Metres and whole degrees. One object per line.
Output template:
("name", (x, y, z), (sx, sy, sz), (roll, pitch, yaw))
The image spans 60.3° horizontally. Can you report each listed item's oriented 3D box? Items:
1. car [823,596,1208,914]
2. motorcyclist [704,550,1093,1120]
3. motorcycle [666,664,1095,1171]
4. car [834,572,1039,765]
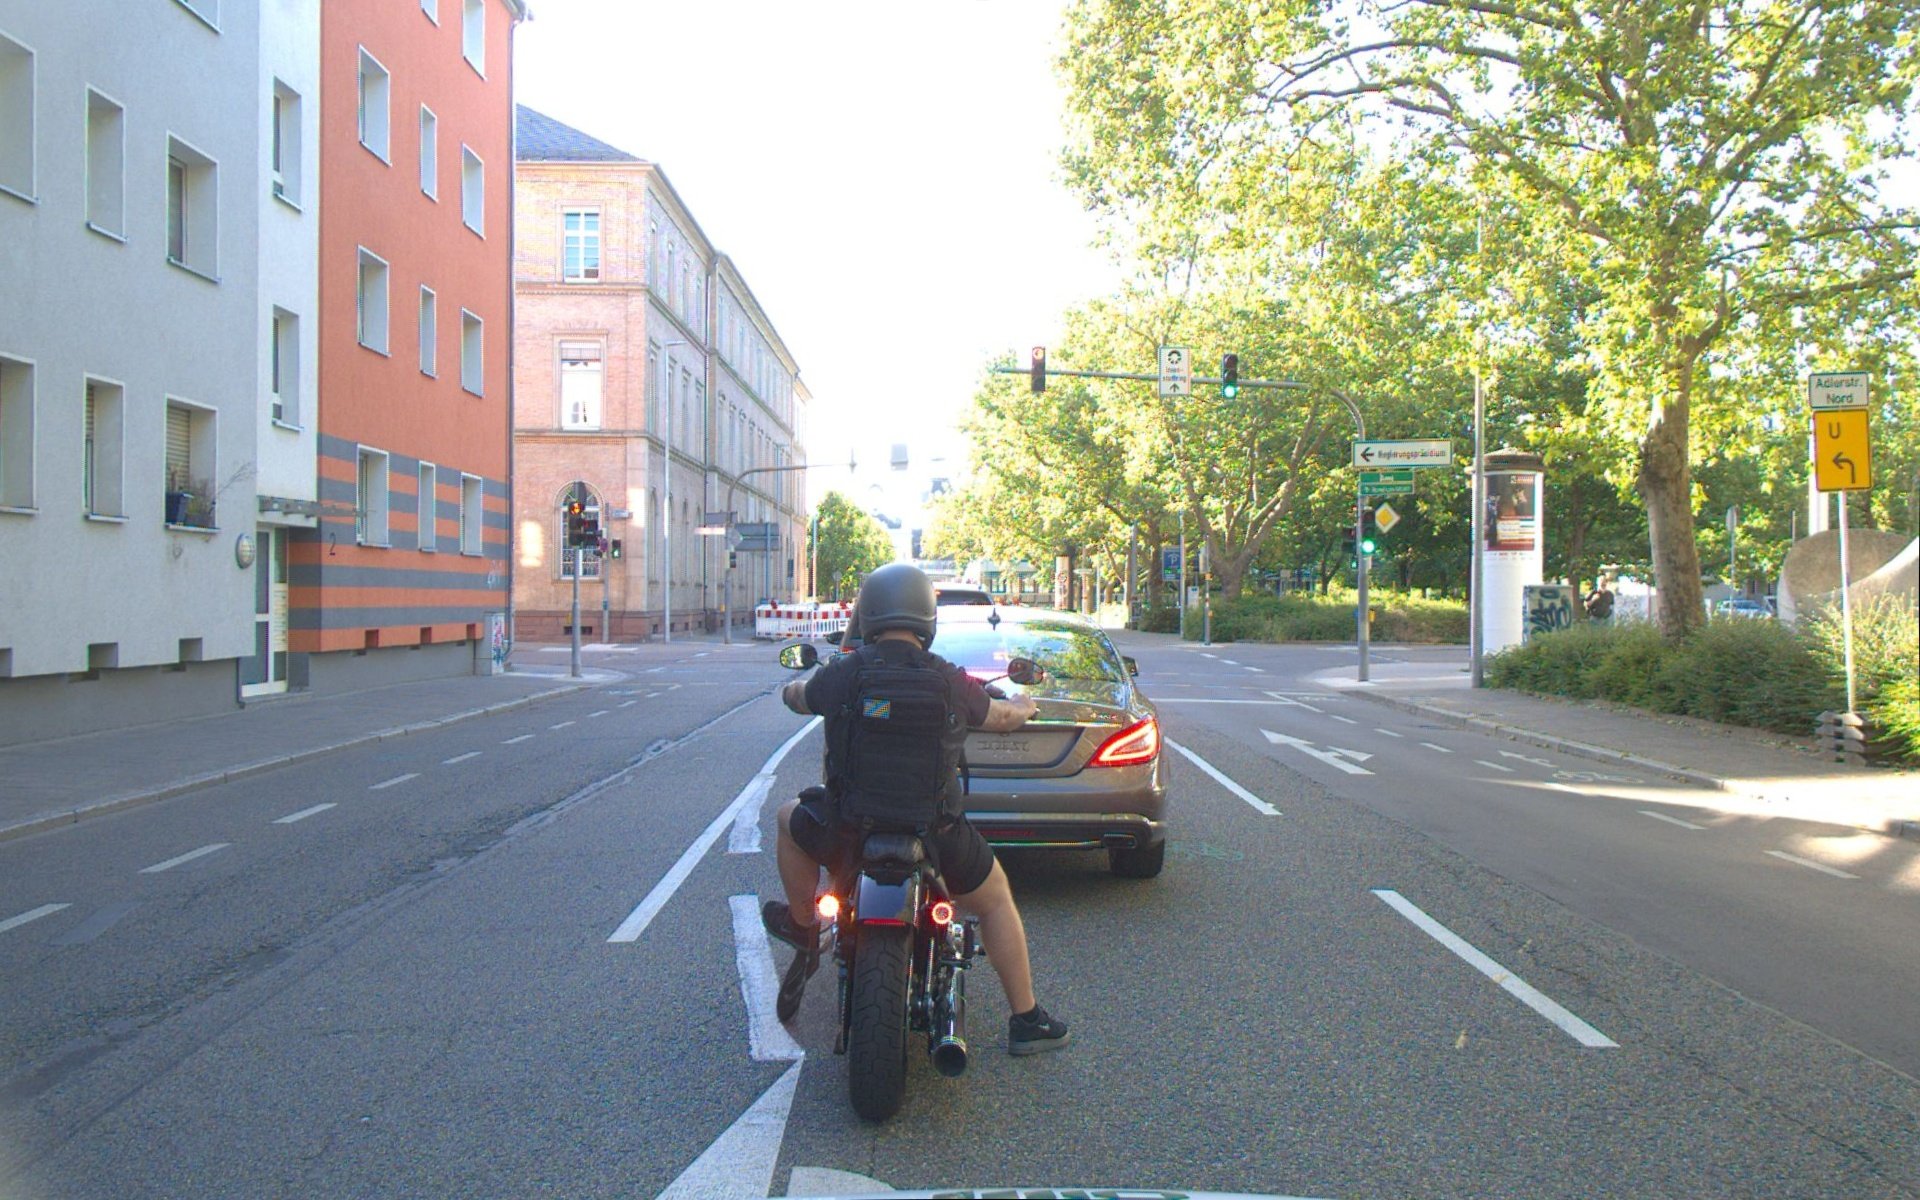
("car", (0.237, 0.734, 9.651), (1.785, 1.462, 3.805), (1, 0, -1))
("motorcyclist", (-0.138, 0.664, 5.259), (1.076, 1.593, 1.072), (1, 0, 5))
("motorcycle", (-0.126, 0.875, 5.479), (1.094, 1.228, 2.213), (1, 0, 5))
("car", (-0.236, 0.626, 16.924), (1.825, 1.707, 3.999), (1, 0, -1))
